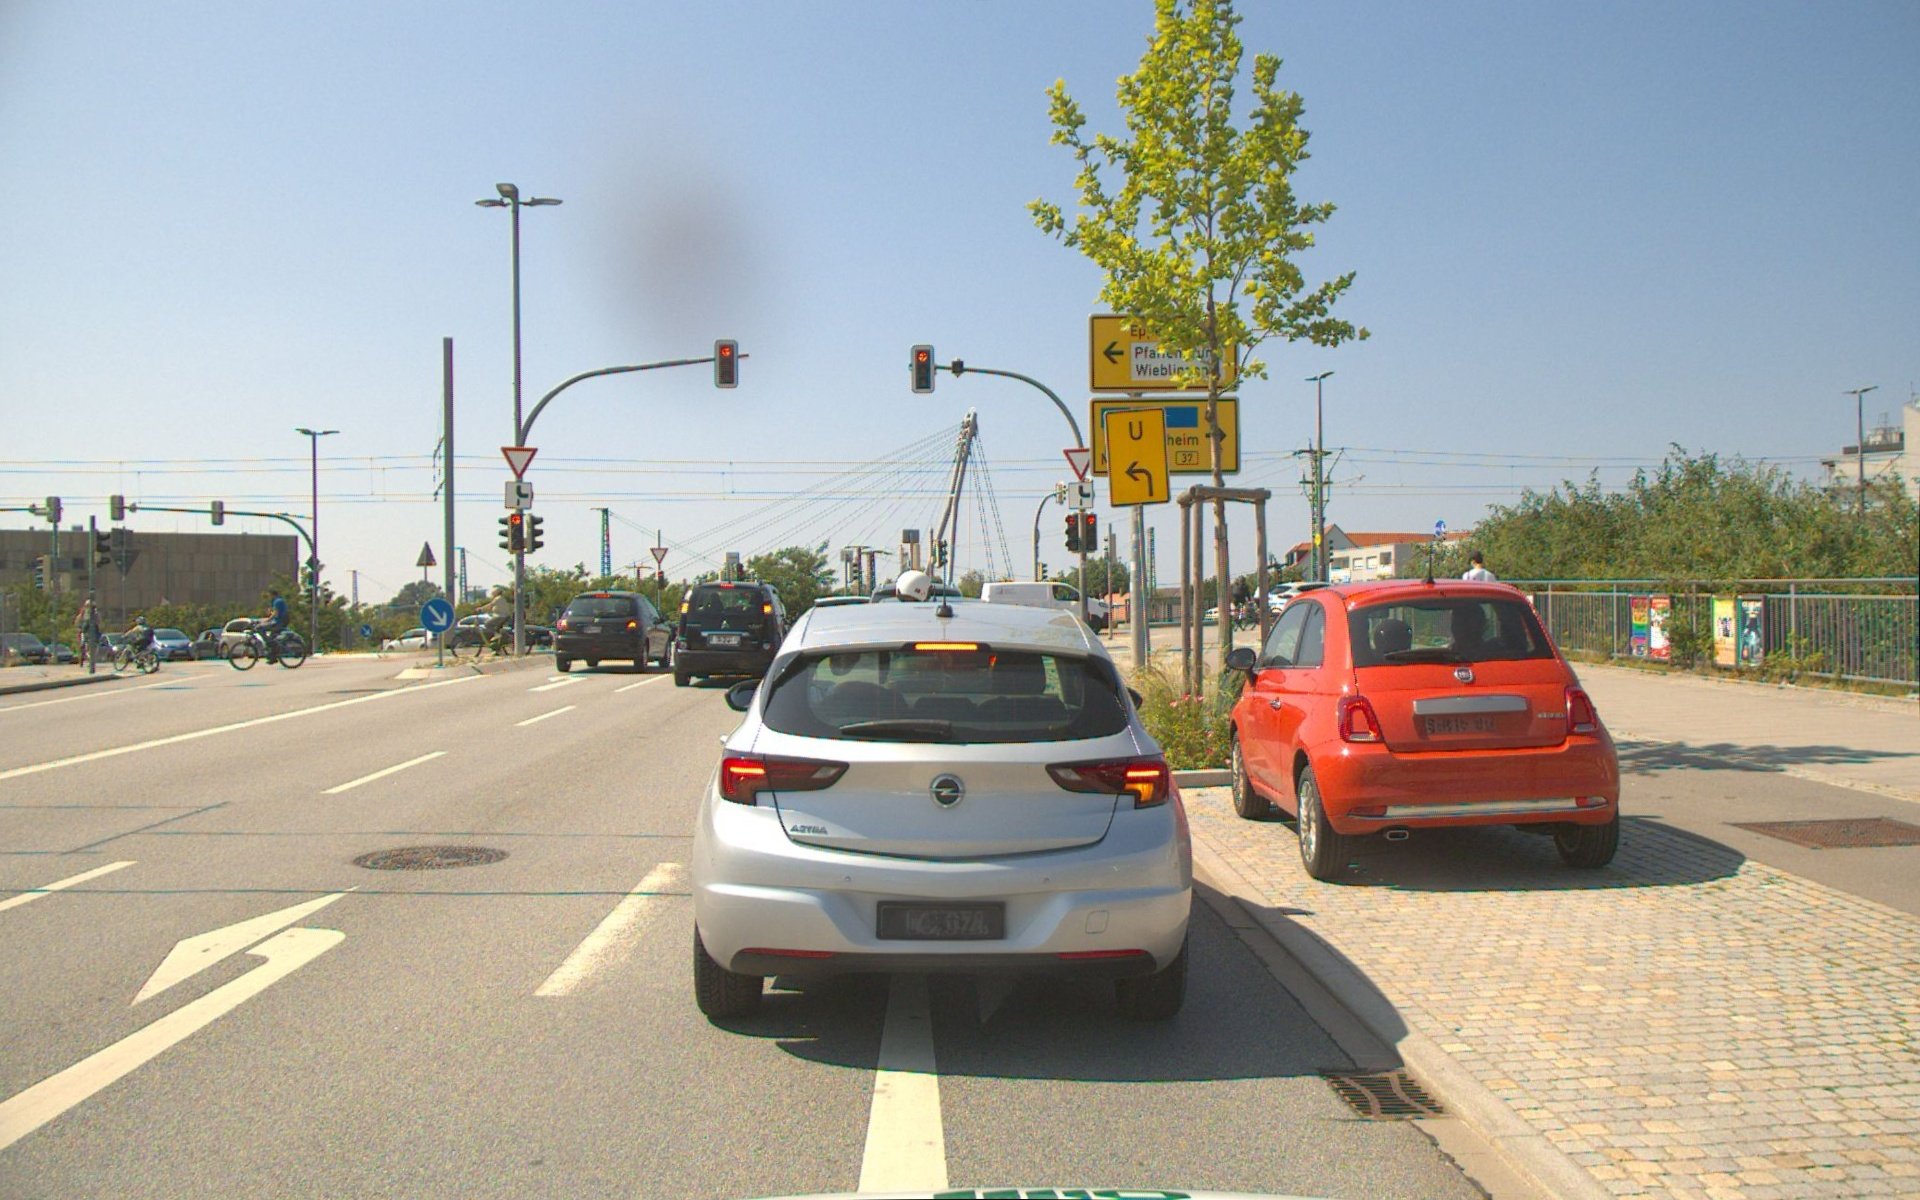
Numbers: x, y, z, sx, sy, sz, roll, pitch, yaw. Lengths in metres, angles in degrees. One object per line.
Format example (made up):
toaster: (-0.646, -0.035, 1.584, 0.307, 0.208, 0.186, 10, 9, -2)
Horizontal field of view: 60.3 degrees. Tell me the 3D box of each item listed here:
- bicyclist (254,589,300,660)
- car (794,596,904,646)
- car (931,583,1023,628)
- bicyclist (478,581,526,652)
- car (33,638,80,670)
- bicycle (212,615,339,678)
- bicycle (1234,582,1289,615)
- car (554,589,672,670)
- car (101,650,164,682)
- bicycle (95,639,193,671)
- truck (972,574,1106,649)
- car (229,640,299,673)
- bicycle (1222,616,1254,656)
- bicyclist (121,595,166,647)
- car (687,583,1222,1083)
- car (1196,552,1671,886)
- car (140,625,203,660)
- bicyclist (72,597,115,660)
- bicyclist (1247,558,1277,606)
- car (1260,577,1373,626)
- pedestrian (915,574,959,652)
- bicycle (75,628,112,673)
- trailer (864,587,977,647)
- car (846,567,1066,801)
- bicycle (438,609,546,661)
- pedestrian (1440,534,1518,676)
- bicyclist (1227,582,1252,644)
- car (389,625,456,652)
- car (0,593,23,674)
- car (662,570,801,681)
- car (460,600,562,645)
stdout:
bicyclist: (-15.525, 0.560, 37.598, 0.808, 1.587, 0.860, 1, -1, -14)
car: (-4.199, 0.797, 63.015, 3.903, 1.815, 2.001, 1, -1, 3)
car: (0.776, 0.245, 76.844, 3.919, 2.049, 1.993, 0, -1, -14)
bicyclist: (-10.613, 0.382, 38.356, 0.927, 1.596, 0.821, 1, -1, -7)
car: (-52.167, 3.105, 95.470, 1.700, 1.771, 4.155, 2, -1, -38)
bicycle: (-15.546, 1.042, 37.613, 2.482, 1.153, 0.726, -5, 2, -14)
bicycle: (10.555, -0.053, 57.905, 1.832, 1.087, 0.576, 1, -1, -10)
car: (-6.403, 0.539, 30.797, 1.555, 1.419, 3.338, 0, -1, -2)
car: (-43.373, 3.429, 86.655, 1.981, 1.481, 4.420, 2, -1, -40)
bicycle: (-19.031, 1.276, 38.564, 2.198, 0.704, 0.516, 0, -1, 12)
truck: (2.845, 0.413, 60.120, 4.602, 2.585, 1.998, 1, -1, -6)
car: (-27.514, 2.216, 65.440, 2.438, 1.262, 1.272, 1, -1, -19)
bicycle: (8.709, 1.114, 51.799, 0.542, 1.198, 2.088, 2, 0, 21)
bicyclist: (-19.043, 0.489, 38.578, 0.643, 1.196, 0.731, 1, -1, 0)
car: (-0.064, 0.730, 7.281, 1.656, 1.546, 4.269, 0, 0, -1)
car: (2.599, 0.559, 10.039, 1.636, 1.566, 3.915, -2, 1, -2)
car: (-34.935, 1.876, 73.258, 3.101, 1.464, 1.575, 0, -1, 45)
bicyclist: (-21.171, 0.694, 40.410, 0.833, 1.528, 0.651, 2, -1, -34)
bicyclist: (10.564, -0.631, 57.888, 0.757, 1.638, 0.947, 1, -1, -9)
car: (14.043, 0.059, 65.193, 3.967, 1.846, 1.924, 1, -1, -16)
pedestrian: (-0.567, 0.322, 40.841, 0.741, 1.896, 0.737, 0, -1, 45)
bicycle: (-21.214, 1.215, 40.460, 0.598, 1.025, 2.484, 1, -1, -32)
trailer: (-1.447, 0.603, 59.676, 3.909, 2.049, 1.998, 1, -1, -5)
car: (-0.077, 0.651, 14.190, 1.602, 1.703, 3.743, 1, -1, -2)
bicycle: (-10.825, 0.812, 38.310, 2.313, 1.147, 0.676, 1, -1, -8)
pedestrian: (6.994, 0.073, 22.304, 0.743, 1.862, 0.884, 1, -1, -1)
bicyclist: (8.704, 0.399, 51.527, 0.621, 1.920, 0.596, 1, -1, 21)
car: (-26.966, 1.919, 82.934, 3.153, 1.327, 1.520, -1, 0, 32)
car: (-25.697, 0.848, 43.595, 1.652, 2.049, 3.960, 2, -1, -30)
car: (-3.632, 0.408, 26.891, 1.767, 1.650, 3.915, 1, -1, -1)
car: (-17.732, 0.874, 65.314, 3.433, 1.669, 1.801, 1, -1, 16)
